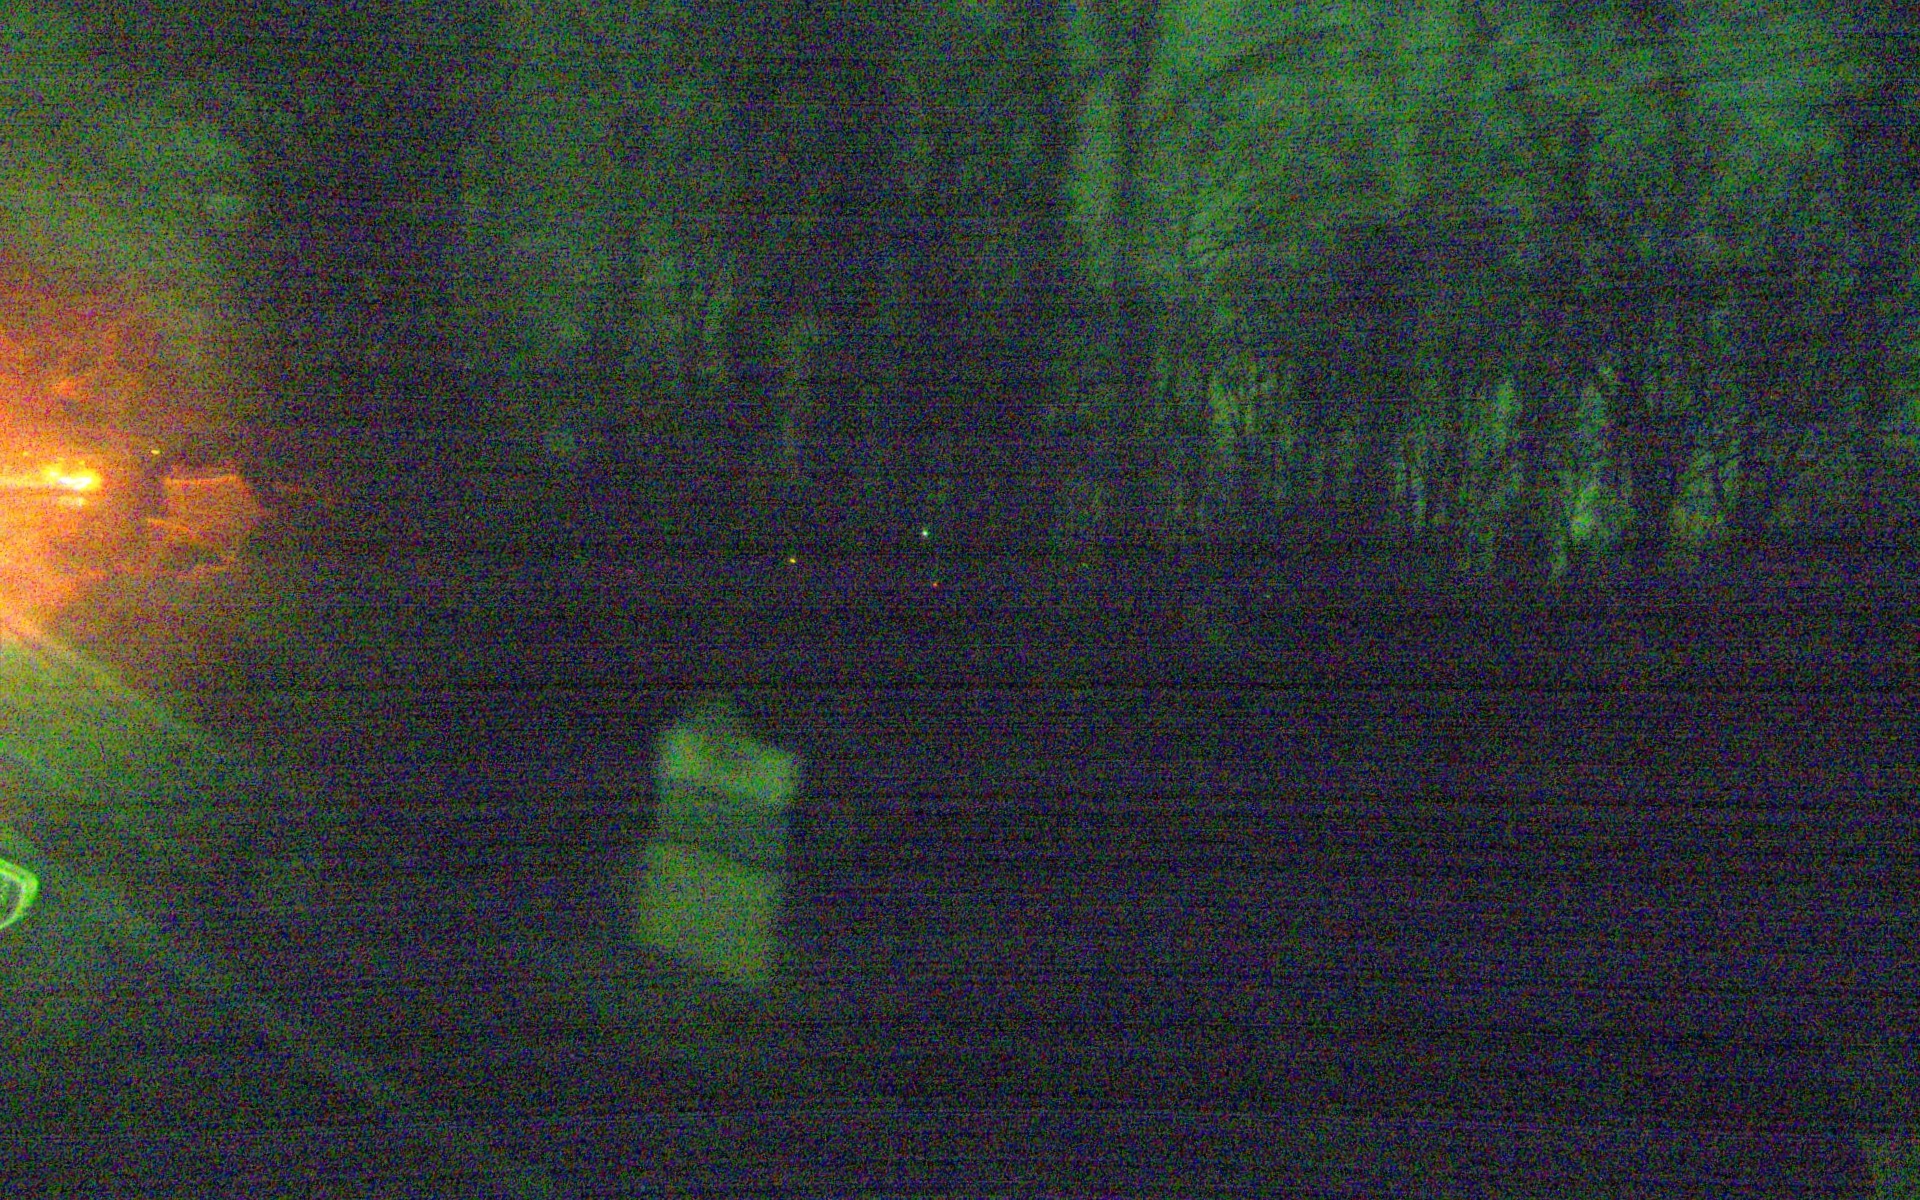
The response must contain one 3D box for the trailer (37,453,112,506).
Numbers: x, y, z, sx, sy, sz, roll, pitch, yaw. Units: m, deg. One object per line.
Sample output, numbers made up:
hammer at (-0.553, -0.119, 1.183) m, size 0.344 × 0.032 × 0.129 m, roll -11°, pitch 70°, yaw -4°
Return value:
trailer at (-45.193, -6.043, 51.569) m, size 2.066 × 2.039 × 10.537 m, roll 4°, pitch 1°, yaw -37°
